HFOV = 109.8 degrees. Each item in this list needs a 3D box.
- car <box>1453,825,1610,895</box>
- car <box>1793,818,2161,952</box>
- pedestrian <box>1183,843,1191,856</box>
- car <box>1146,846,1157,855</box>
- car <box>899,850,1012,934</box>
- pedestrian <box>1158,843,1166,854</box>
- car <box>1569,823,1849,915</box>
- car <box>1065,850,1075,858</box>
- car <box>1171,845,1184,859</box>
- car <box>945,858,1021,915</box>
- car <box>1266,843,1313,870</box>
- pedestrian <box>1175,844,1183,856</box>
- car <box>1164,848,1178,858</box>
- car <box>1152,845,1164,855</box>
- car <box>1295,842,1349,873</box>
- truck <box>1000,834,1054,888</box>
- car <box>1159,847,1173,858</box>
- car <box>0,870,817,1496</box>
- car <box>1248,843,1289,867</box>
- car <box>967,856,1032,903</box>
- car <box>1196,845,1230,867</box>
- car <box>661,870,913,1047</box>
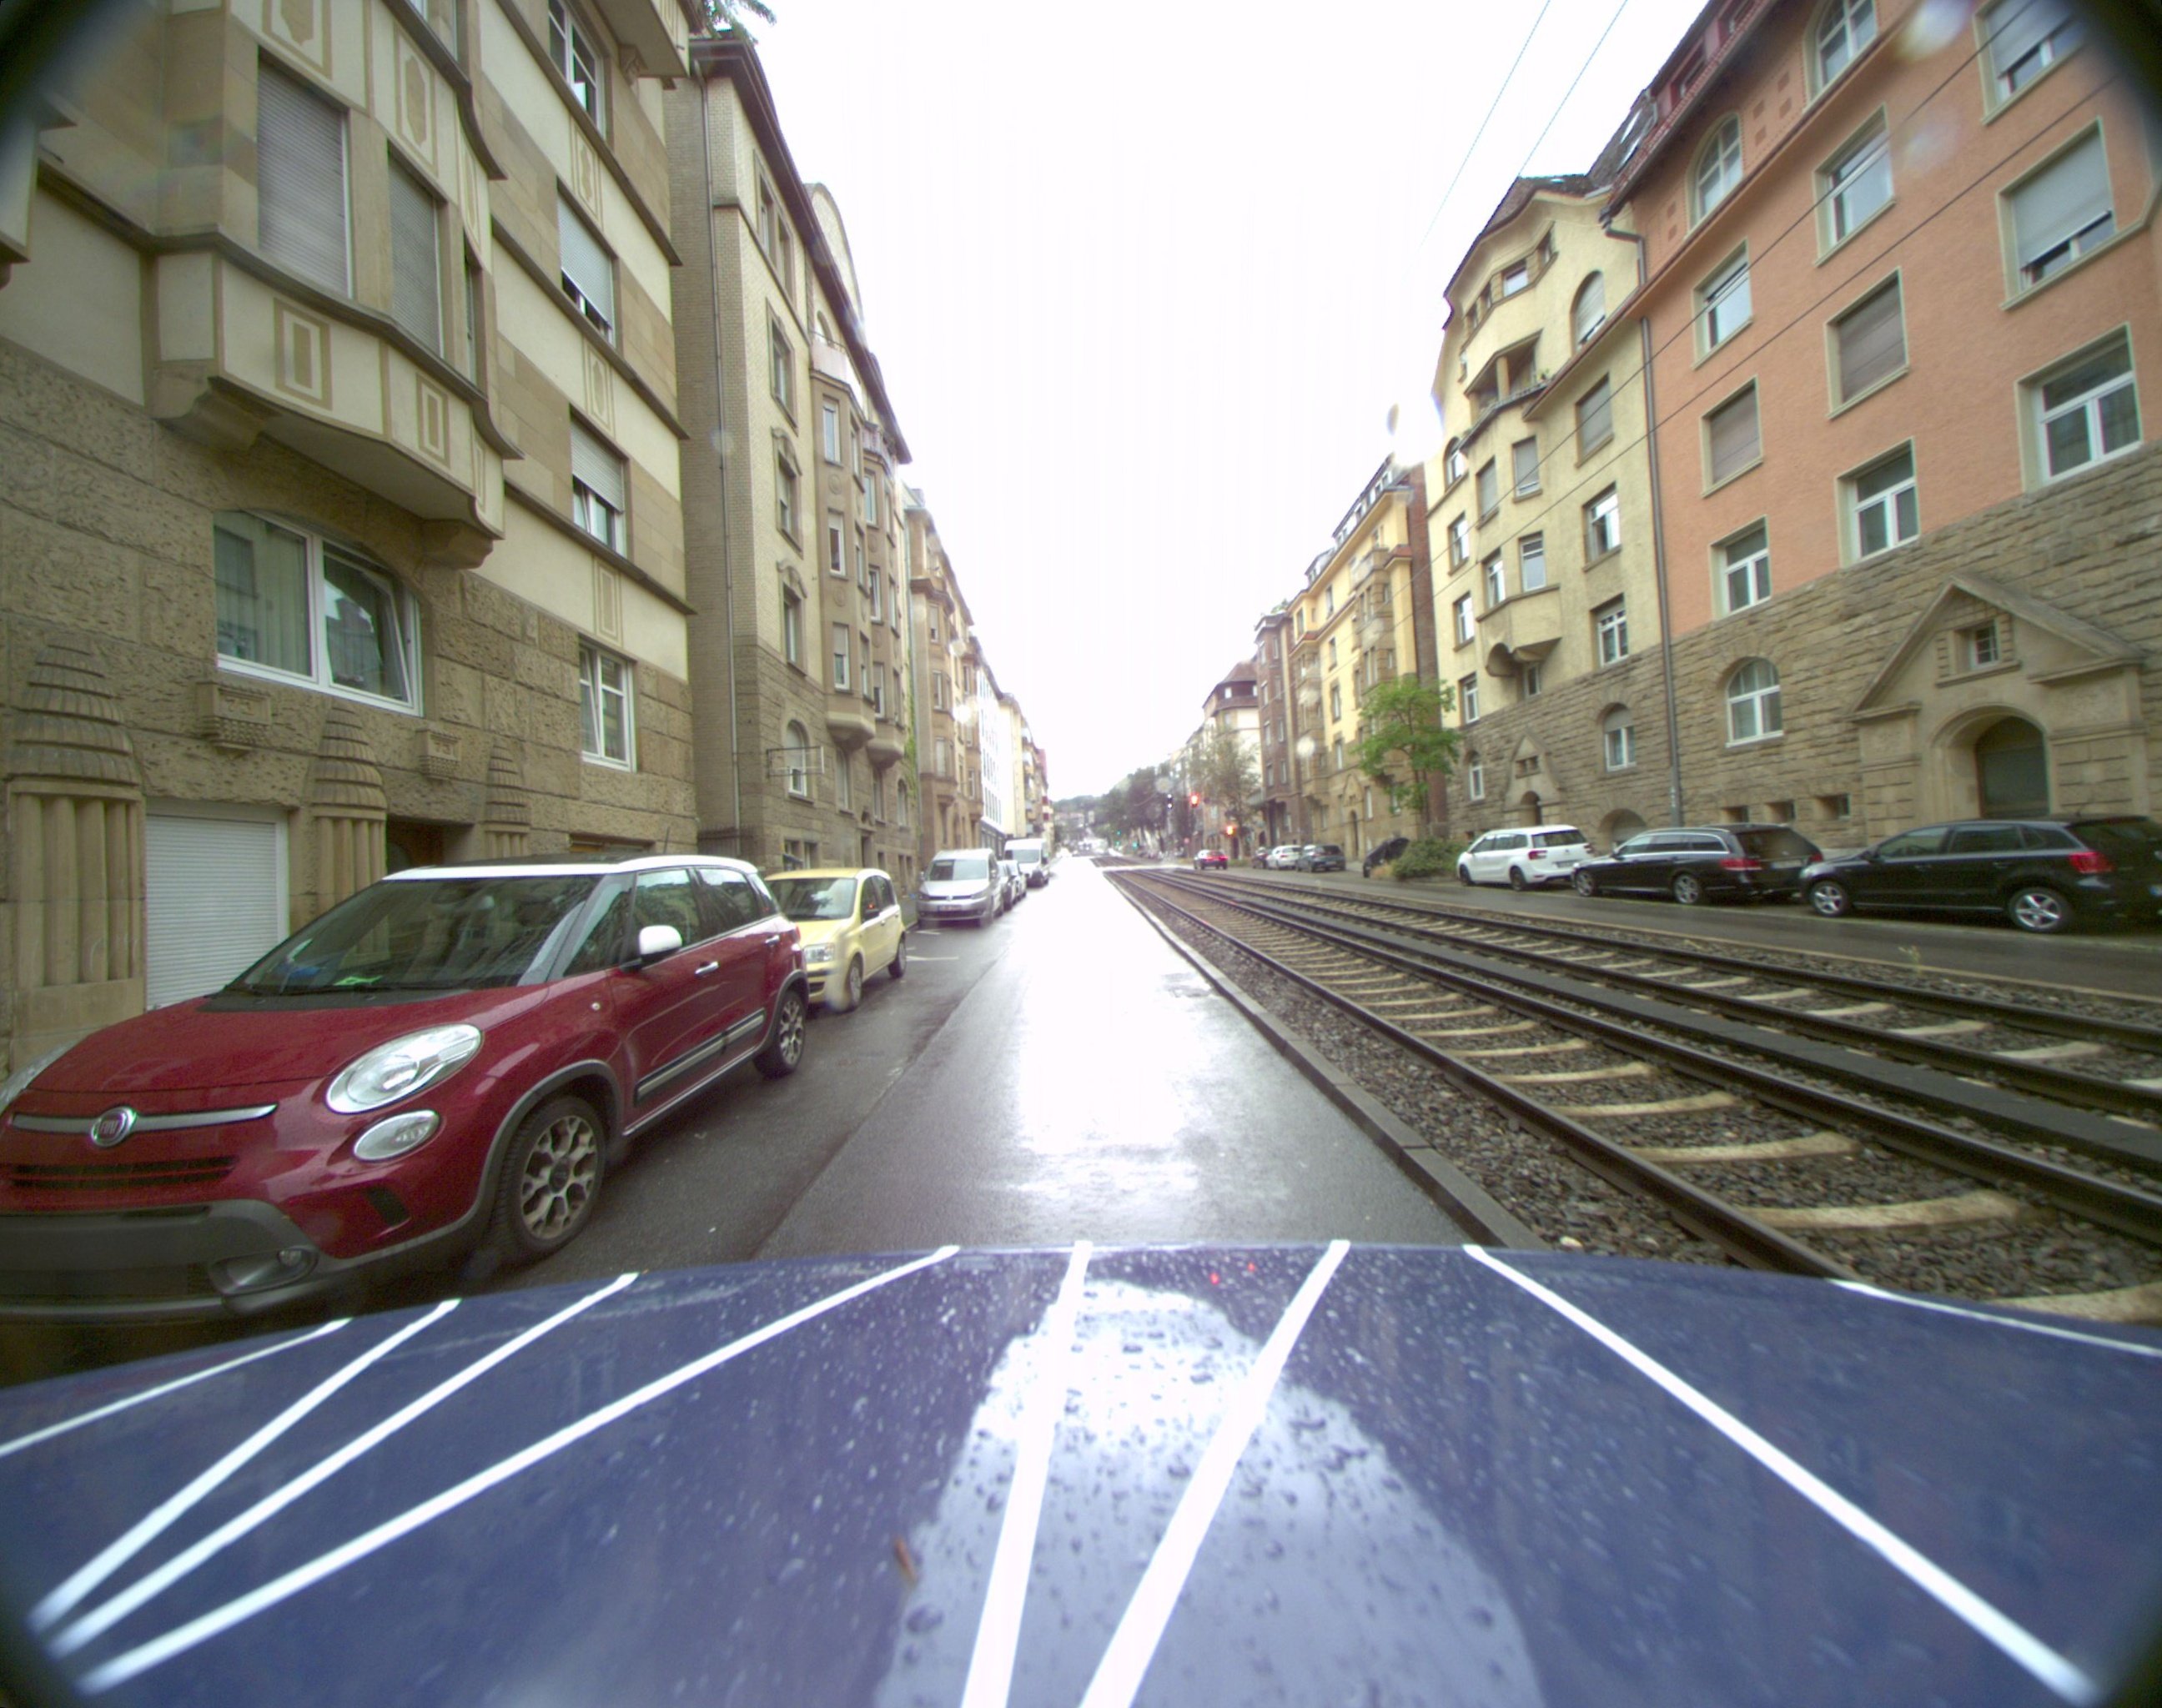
[{"bbox_3d":[12.269,0.141,21.038,1.867,1.646,4.146,-3,0,1],"label":"car"},{"bbox_3d":[12.525,0.322,10.458,1.935,1.488,3.641,-2,1,-2],"label":"car"},{"bbox_3d":[16.516,-0.678,118.422,1.056,1.946,1.163,-3,1,2],"label":"pedestrian"},{"bbox_3d":[12.428,-0.639,133.696,1.632,1.537,3.801,-3,0,1],"label":"car"},{"bbox_3d":[-3.014,0.842,19.191,1.968,1.792,4.459,-3,0,1],"label":"car"},{"bbox_3d":[15.701,-1.051,146.994,1.380,1.946,1.379,-3,1,2],"label":"pedestrian"},{"bbox_3d":[12.287,0.254,15.376,1.847,1.486,4.601,-3,0,1],"label":"car"},{"bbox_3d":[-2.642,0.016,183.829,1.998,1.838,4.000,-3,0,1],"label":"car"},{"bbox_3d":[12.666,-0.237,99.537,1.583,1.669,3.790,-3,2,7],"label":"car"},{"bbox_3d":[-2.969,0.932,23.807,1.999,1.521,3.999,-3,0,-3],"label":"car"},{"bbox_3d":[12.467,0.124,45.645,1.771,1.433,4.031,-3,0,2],"label":"car"},{"bbox_3d":[15.204,-0.629,118.435,1.056,1.946,1.163,-3,1,2],"label":"pedestrian"},{"bbox_3d":[12.567,-0.092,106.375,1.583,1.303,3.845,-3,0,1],"label":"car"},{"bbox_3d":[12.832,-0.639,126.827,1.657,1.589,3.775,-3,0,1],"label":"car"},{"bbox_3d":[12.500,0.135,39.606,1.678,1.433,3.845,-4,1,3],"label":"car"},{"bbox_3d":[-2.728,0.335,39.937,2.235,2.521,6.143,-3,0,1],"label":"truck"},{"bbox_3d":[12.863,-0.281,115.357,1.771,1.507,3.845,-3,0,1],"label":"car"},{"bbox_3d":[-3.037,0.972,4.084,1.807,1.590,3.999,-3,0,-1],"label":"car"},{"bbox_3d":[12.477,0.071,50.740,1.771,1.433,3.845,-3,0,1],"label":"car"},{"bbox_3d":[-2.957,0.874,28.308,1.891,1.521,3.929,-3,0,1],"label":"car"},{"bbox_3d":[9.751,0.119,56.530,1.807,1.514,4.965,-2,0,3],"label":"car"},{"bbox_3d":[-3.193,1.035,9.032,1.580,1.520,3.578,-3,0,-1],"label":"car"}]
